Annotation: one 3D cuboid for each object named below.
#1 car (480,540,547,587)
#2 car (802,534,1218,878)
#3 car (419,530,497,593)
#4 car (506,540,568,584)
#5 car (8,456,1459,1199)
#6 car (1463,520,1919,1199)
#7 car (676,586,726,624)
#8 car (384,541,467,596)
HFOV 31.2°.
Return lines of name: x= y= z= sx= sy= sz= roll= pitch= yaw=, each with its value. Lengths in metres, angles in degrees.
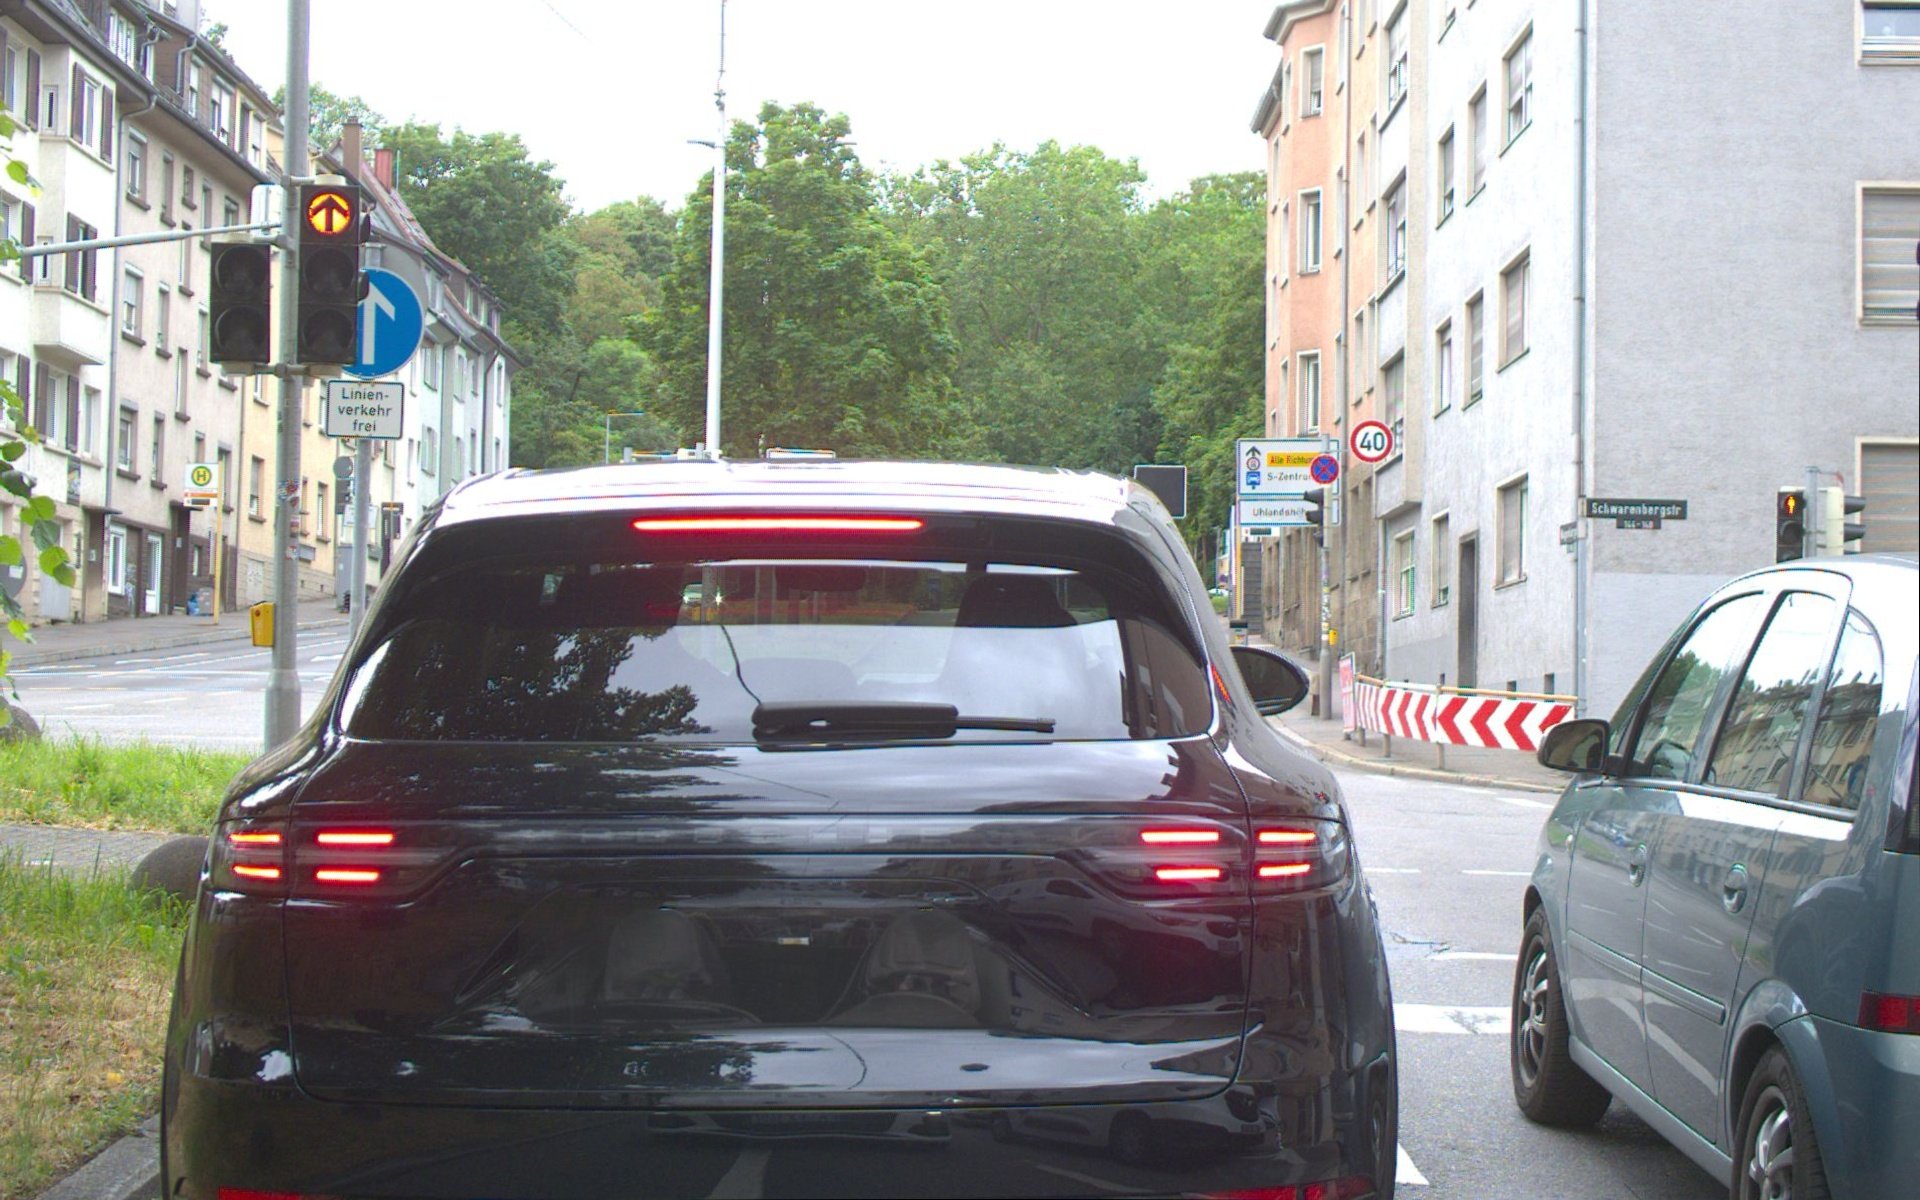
car: x=-15.145 y=-1.253 z=116.771 sx=1.794 sy=1.505 sz=4.000 roll=1 pitch=1 yaw=-1
car: x=0.281 y=0.502 z=18.574 sx=1.994 sy=1.647 sz=4.000 roll=0 pitch=0 yaw=1
car: x=-15.087 y=-1.169 z=103.546 sx=1.794 sy=1.804 sz=4.000 roll=1 pitch=1 yaw=-1
car: x=-15.341 y=-1.397 z=124.932 sx=1.794 sy=1.505 sz=4.000 roll=1 pitch=1 yaw=-1
car: x=-0.278 y=0.583 z=6.732 sx=1.994 sy=1.647 sz=4.000 roll=0 pitch=1 yaw=1
car: x=2.372 y=0.696 z=7.825 sx=1.752 sy=1.588 sz=3.631 roll=4 pitch=1 yaw=-1
car: x=-10.602 y=0.221 z=141.110 sx=1.794 sy=1.505 sz=4.000 roll=1 pitch=-1 yaw=-1
car: x=-15.288 y=-0.918 z=98.525 sx=1.794 sy=1.505 sz=4.000 roll=1 pitch=1 yaw=-1
